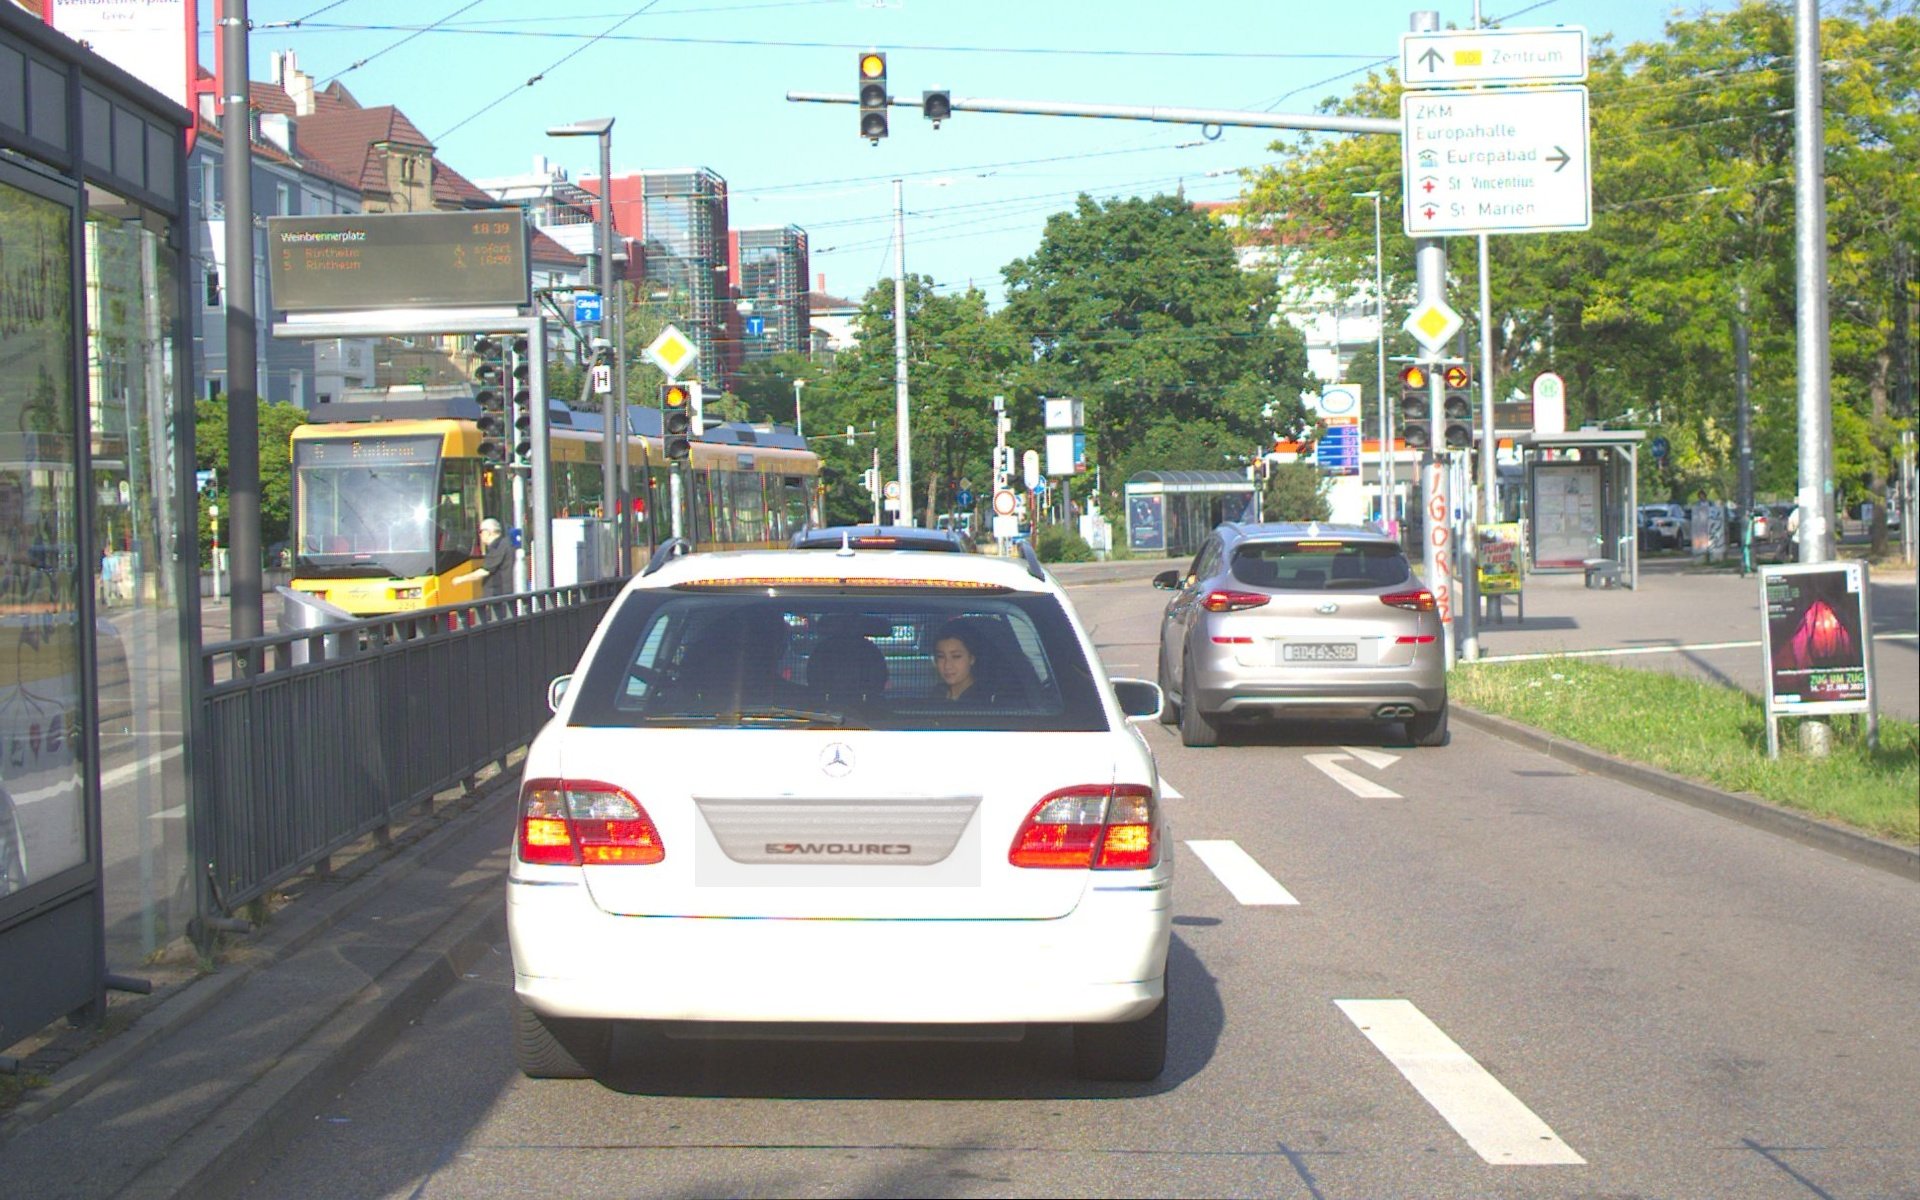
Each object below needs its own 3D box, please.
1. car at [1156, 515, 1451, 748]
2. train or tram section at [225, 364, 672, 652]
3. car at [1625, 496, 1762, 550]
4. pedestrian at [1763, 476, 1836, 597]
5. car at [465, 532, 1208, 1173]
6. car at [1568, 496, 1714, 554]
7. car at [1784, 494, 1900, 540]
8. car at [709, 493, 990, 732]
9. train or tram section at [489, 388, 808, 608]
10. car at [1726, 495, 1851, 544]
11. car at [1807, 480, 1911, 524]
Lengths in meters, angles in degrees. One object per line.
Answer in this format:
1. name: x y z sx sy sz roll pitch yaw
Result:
1. car: 2.511 0.171 26.003 2.033 1.600 4.000 0 2 3
2. train or tram section: -6.744 -1.322 48.133 2.850 3.467 13.197 0 2 7
3. car: 23.996 -2.532 112.509 3.986 1.645 2.000 -2 1 -27
4. pedestrian: 11.576 -0.879 47.429 0.886 1.646 0.746 0 1 7
5. car: -0.363 0.572 10.336 1.758 1.498 4.001 -2 1 -2
6. car: 20.850 -2.297 105.259 3.992 1.645 1.998 -1 1 25
7. car: 34.074 -3.202 132.848 3.986 1.645 2.000 -2 1 -27
8. car: -0.768 0.034 26.383 1.787 1.684 4.000 0 2 3
9. train or tram section: -5.236 -1.808 61.077 2.850 3.467 13.197 0 2 7
10. car: 29.609 -2.876 122.872 3.986 1.645 2.000 -2 1 -27
11. car: 36.177 -3.953 138.483 3.989 1.645 1.999 -1 1 14
